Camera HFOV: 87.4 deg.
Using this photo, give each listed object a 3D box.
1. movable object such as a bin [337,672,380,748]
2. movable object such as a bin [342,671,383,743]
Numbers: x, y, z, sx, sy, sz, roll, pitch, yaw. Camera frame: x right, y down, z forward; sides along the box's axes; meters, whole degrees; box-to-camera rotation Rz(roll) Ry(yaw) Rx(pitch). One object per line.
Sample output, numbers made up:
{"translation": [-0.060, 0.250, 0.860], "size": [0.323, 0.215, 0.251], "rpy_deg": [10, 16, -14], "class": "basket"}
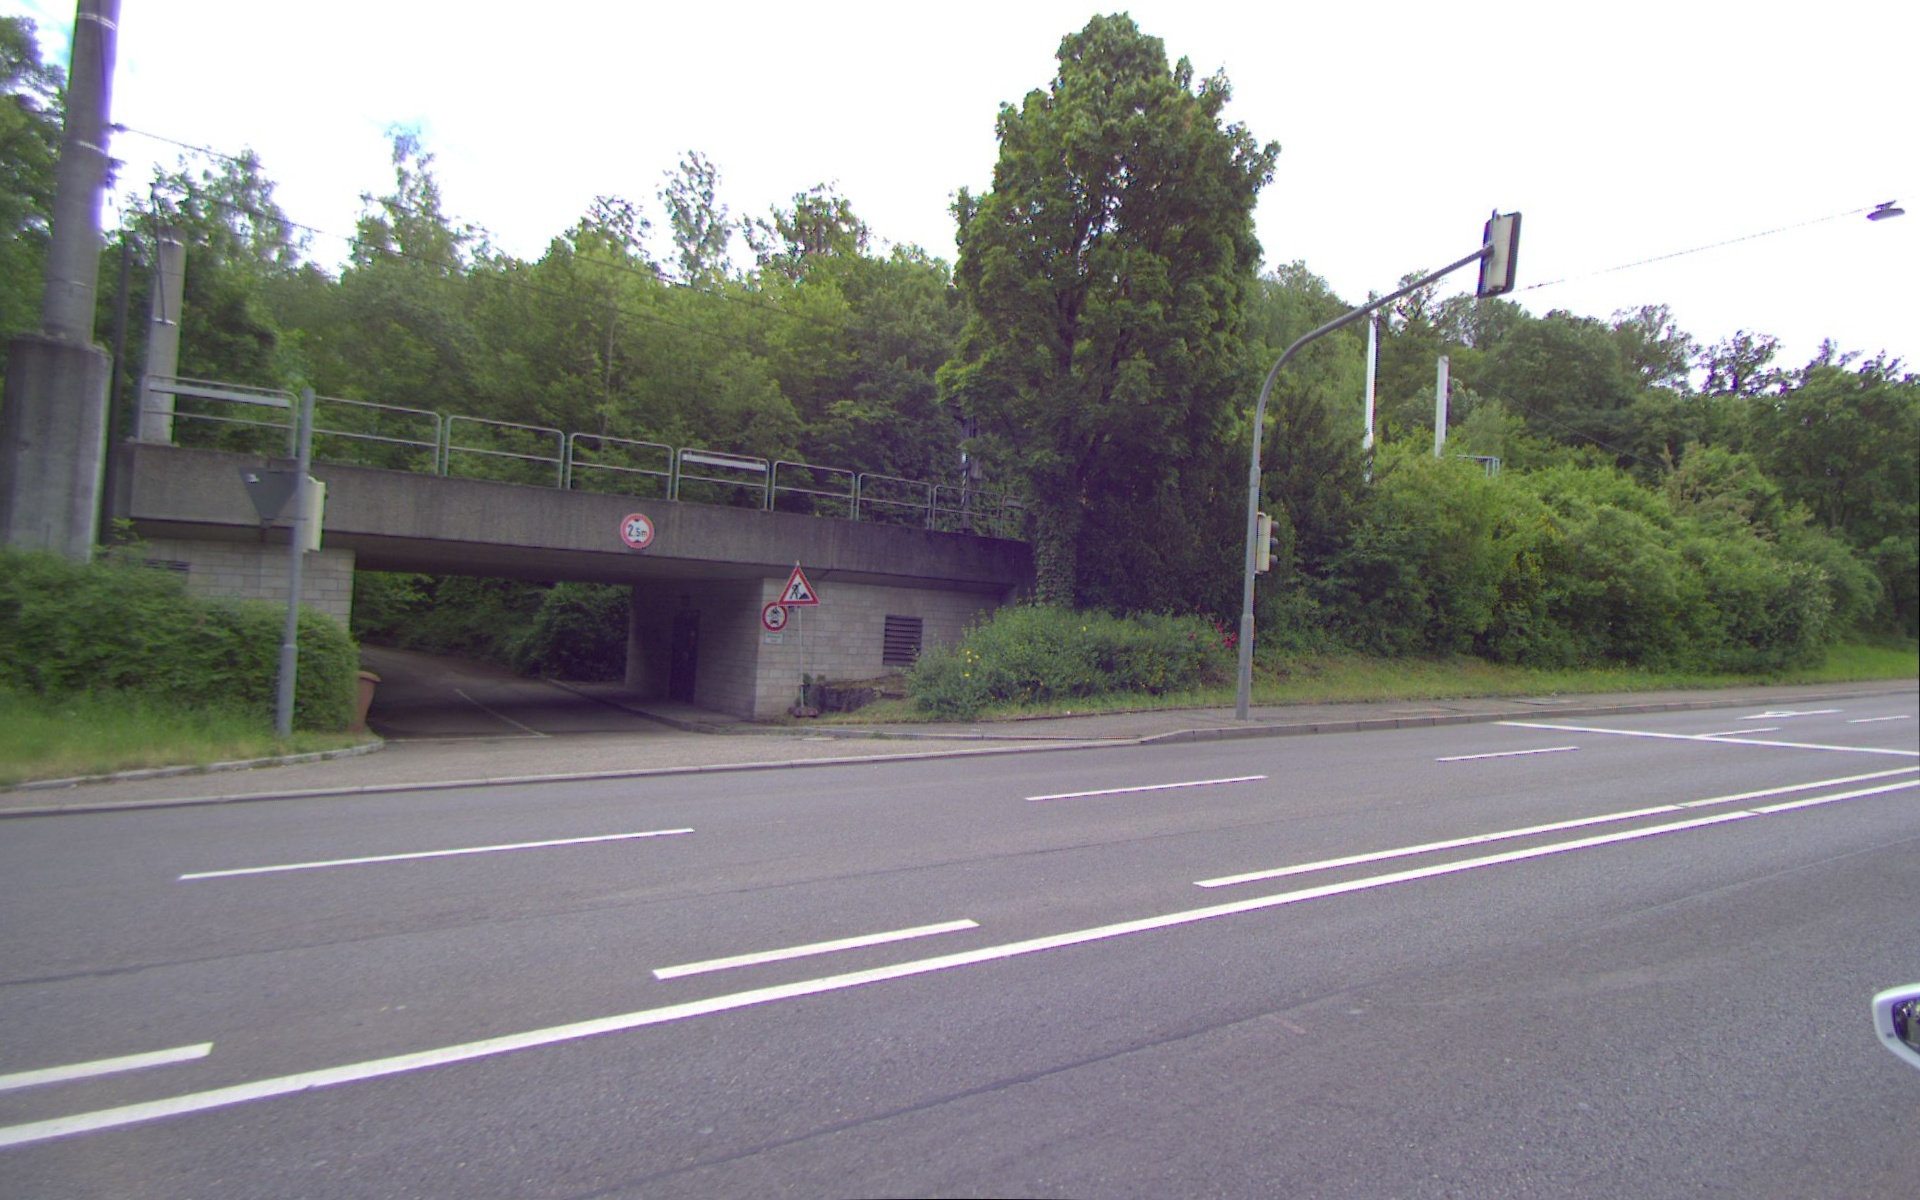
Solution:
{"translation": [-8.919, 1.622, 14.897], "size": [0.499, 1.077, 0.415], "rpy_deg": [2, -2, -35], "class": "movable object such as a bin"}
{"translation": [-9.259, 1.644, 15.554], "size": [0.499, 1.077, 0.415], "rpy_deg": [2, -2, -35], "class": "movable object such as a bin"}
